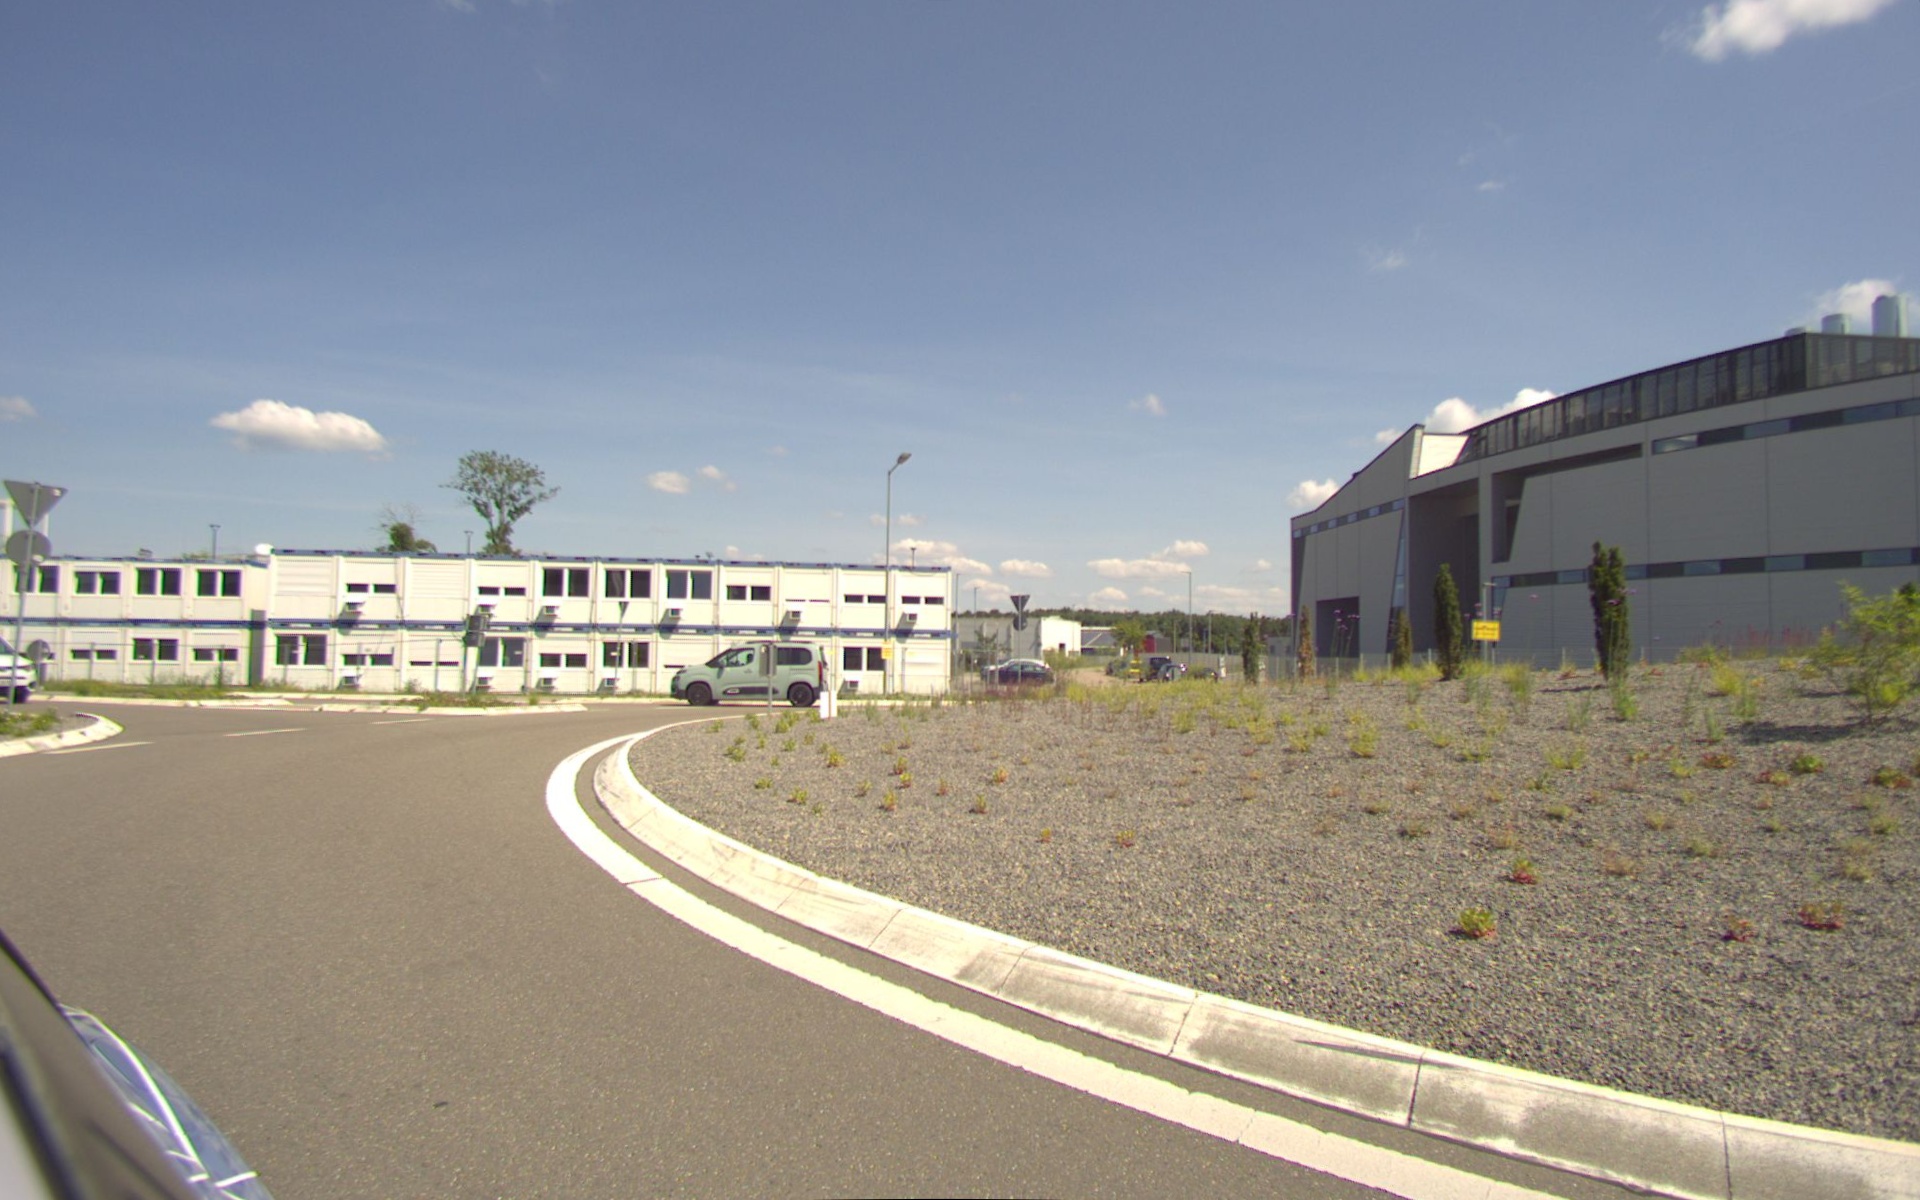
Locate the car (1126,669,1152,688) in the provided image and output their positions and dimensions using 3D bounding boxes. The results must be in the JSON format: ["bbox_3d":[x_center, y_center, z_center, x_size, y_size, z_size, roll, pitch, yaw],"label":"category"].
[{"bbox_3d":[15.255,6.676,86.359,1.977,1.561,4.302,0,-3,8],"label":"car"}]

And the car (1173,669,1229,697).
[{"bbox_3d":[14.749,5.090,62.197,1.968,1.561,4.321,1,-3,-7],"label":"car"}]

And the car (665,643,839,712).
[{"bbox_3d":[-5.708,2.155,28.219,4.493,1.793,2.001,1,-4,-3],"label":"car"}]

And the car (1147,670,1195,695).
[{"bbox_3d":[14.388,5.605,69.164,1.969,1.561,4.320,1,-3,-6],"label":"car"}]

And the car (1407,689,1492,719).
[{"bbox_3d":[29.945,6.339,61.959,4.247,1.703,2.002,1,-3,-6],"label":"car"}]

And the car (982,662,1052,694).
[{"bbox_3d":[3.603,4.836,63.167,4.261,1.881,1.996,0,-3,6],"label":"car"}]

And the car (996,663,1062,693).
[{"bbox_3d":[4.594,5.149,66.901,4.261,1.881,1.996,0,-3,6],"label":"car"}]

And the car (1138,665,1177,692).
[{"bbox_3d":[14.811,5.880,76.023,1.971,1.845,4.314,1,-3,-1],"label":"car"}]

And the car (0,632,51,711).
[{"bbox_3d":[-24.353,1.659,24.202,4.794,1.820,1.825,0,-3,21],"label":"car"}]
